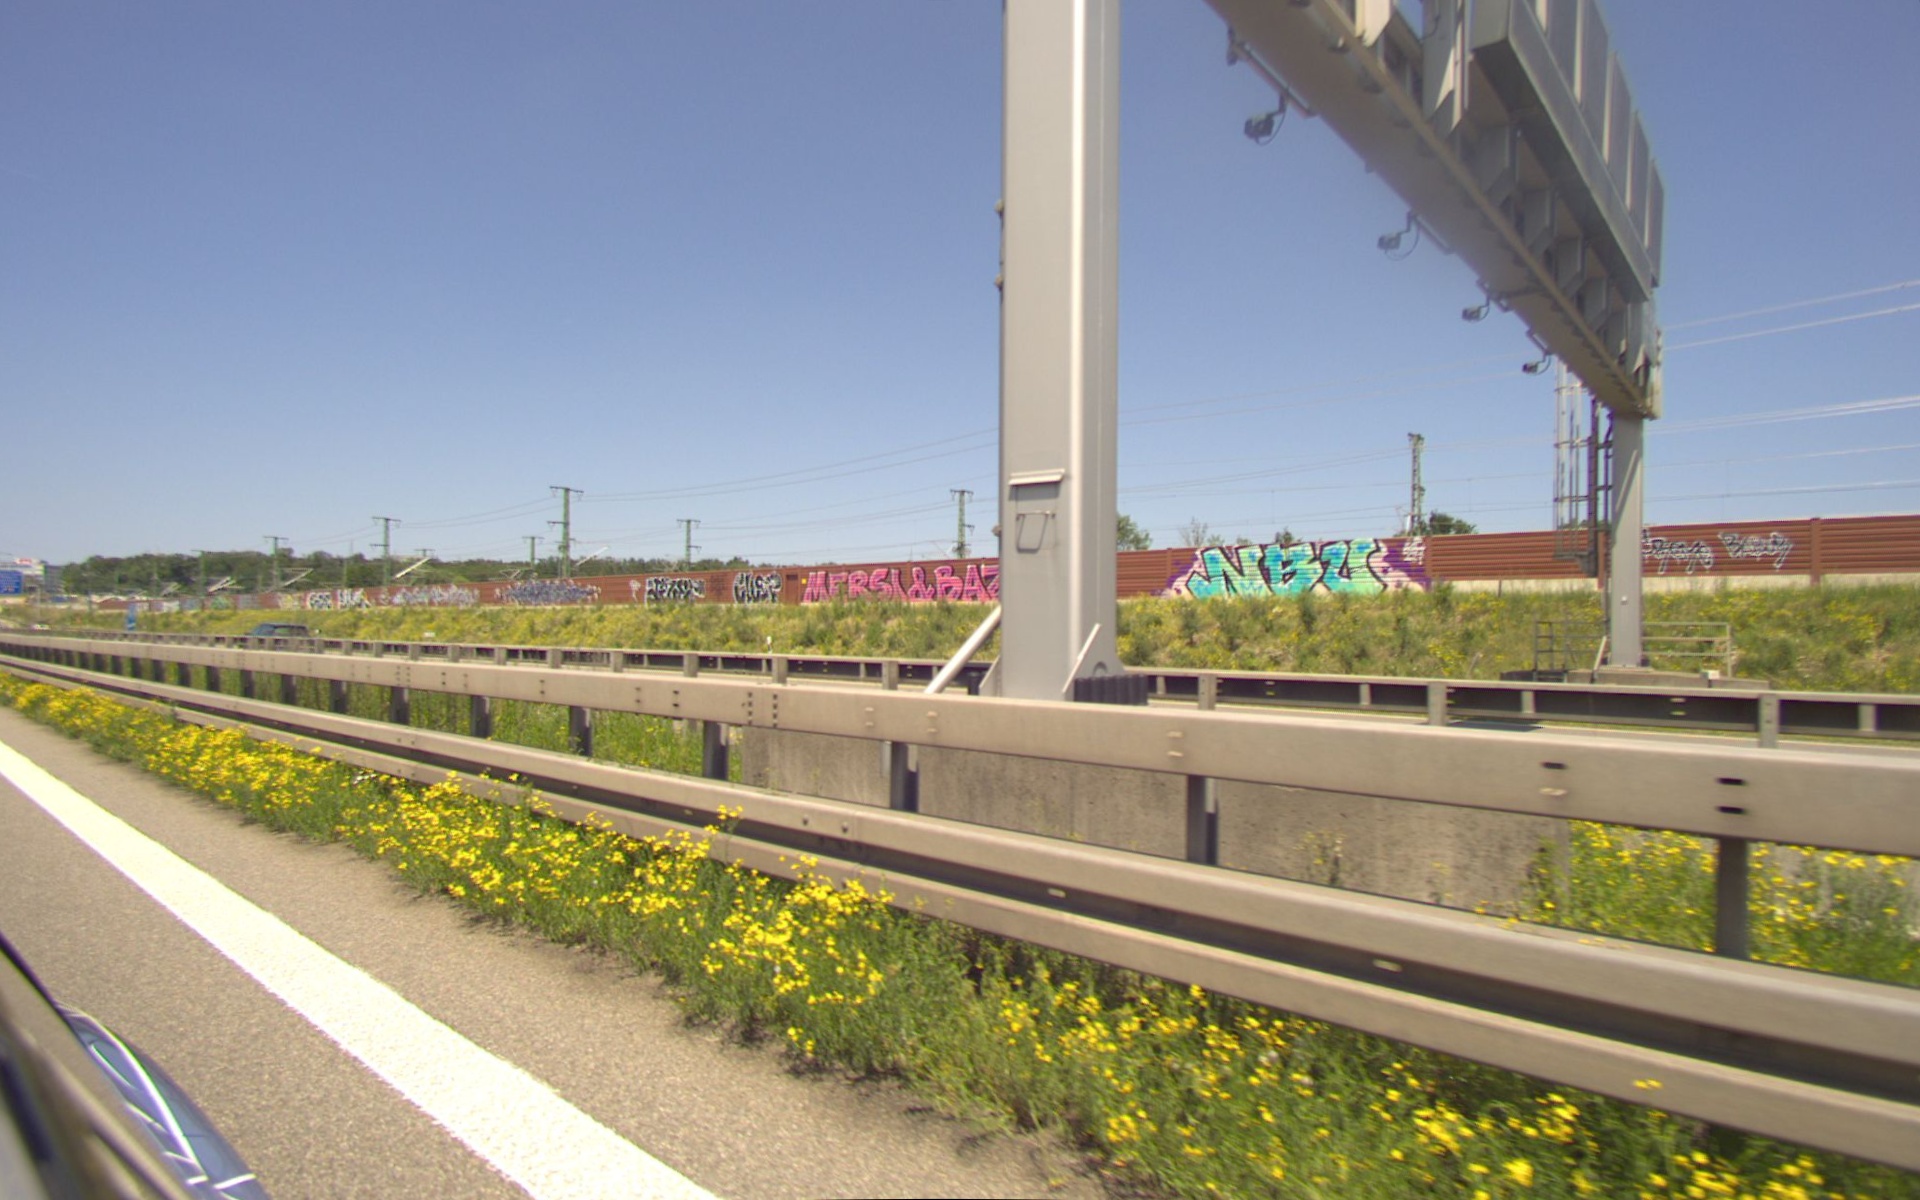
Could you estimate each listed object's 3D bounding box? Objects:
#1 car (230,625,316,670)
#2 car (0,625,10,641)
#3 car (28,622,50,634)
[{"bbox_3d":[-26.311,1.766,38.728,3.998,1.586,1.785,-1,-1,42],"label":"car"},{"bbox_3d":[-98.714,3.368,103.459,4.807,1.556,1.893,-1,-1,42],"label":"car"},{"bbox_3d":[-119.327,3.591,131.122,3.807,1.556,1.702,-1,-1,42],"label":"car"}]
